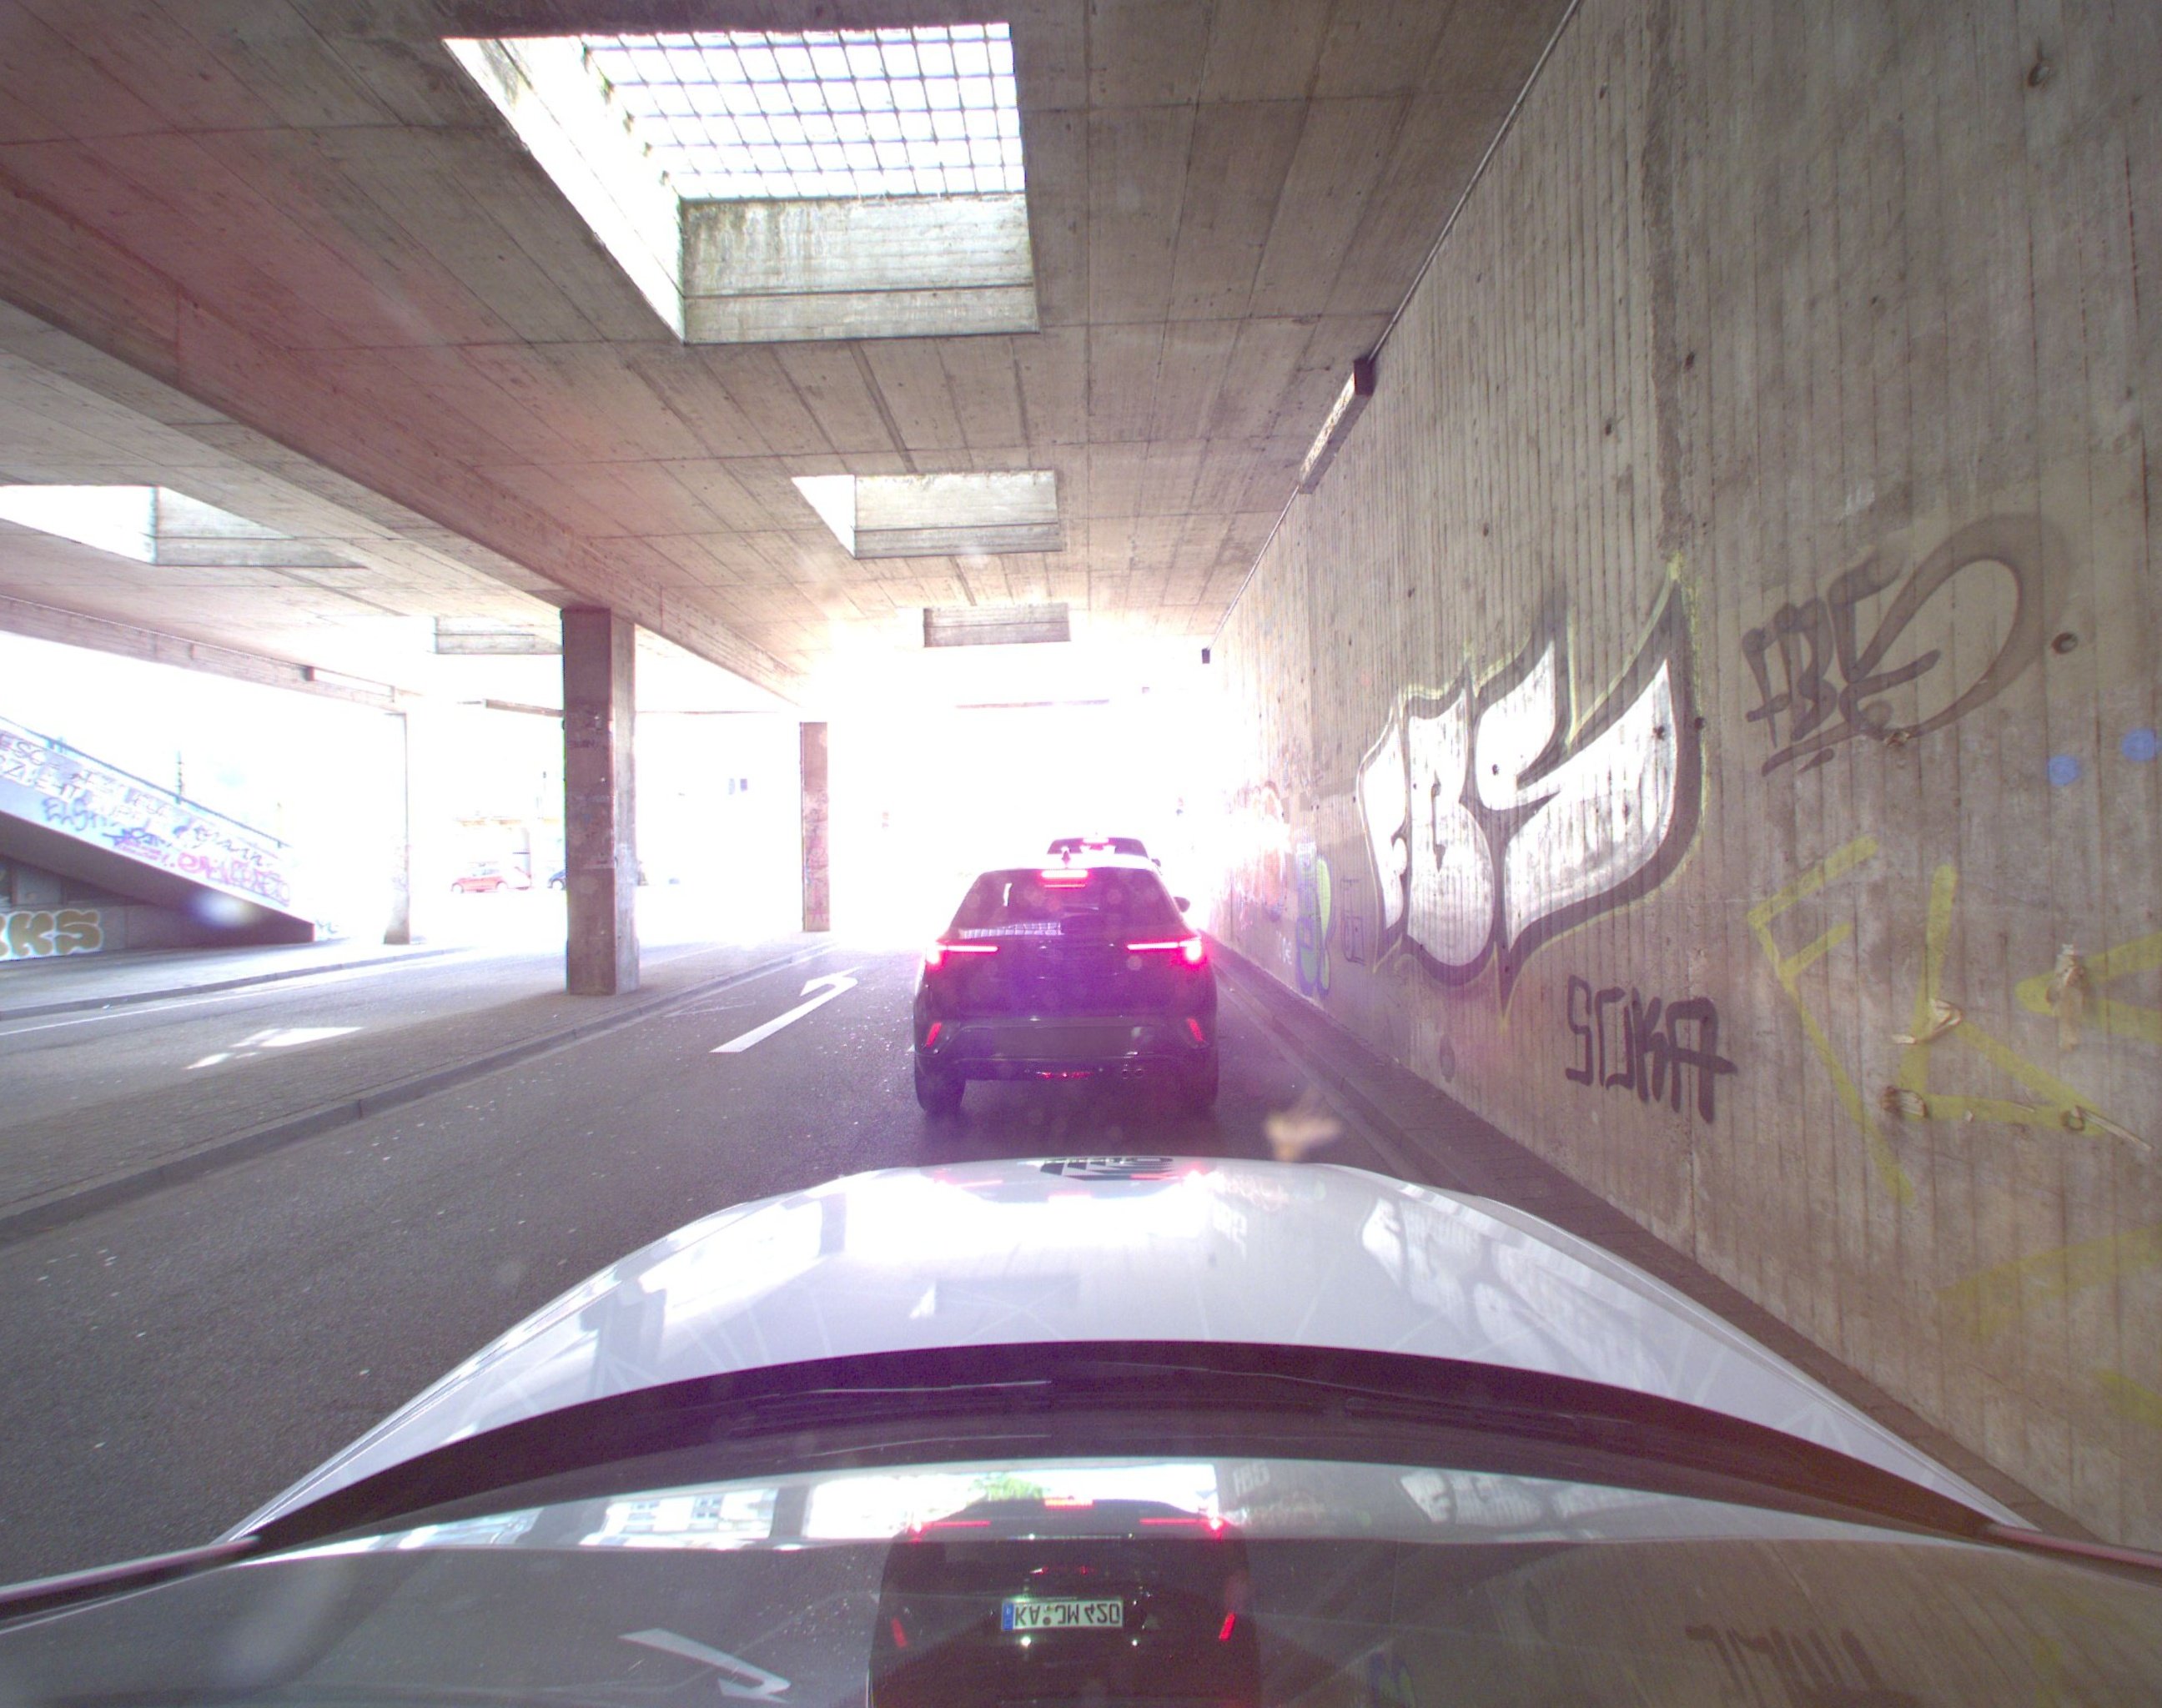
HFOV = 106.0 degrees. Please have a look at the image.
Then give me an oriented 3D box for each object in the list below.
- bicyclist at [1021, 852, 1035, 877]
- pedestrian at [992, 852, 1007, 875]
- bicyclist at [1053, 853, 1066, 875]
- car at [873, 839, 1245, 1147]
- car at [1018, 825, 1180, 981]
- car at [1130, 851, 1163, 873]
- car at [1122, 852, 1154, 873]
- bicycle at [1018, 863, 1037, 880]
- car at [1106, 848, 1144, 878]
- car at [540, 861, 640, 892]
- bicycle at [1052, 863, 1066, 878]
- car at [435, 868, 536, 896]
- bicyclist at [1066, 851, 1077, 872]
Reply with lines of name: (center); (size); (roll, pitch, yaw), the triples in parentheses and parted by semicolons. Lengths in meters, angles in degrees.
bicyclist: (-3.377, 0.667, 51.774); (0.724, 1.581, 0.817); (-1, -1, 11)
pedestrian: (-7.271, 0.805, 72.727); (0.986, 2.013, 1.091); (-2, 0, 10)
bicyclist: (-1.561, 0.707, 58.492); (0.724, 1.581, 0.817); (-1, -1, 11)
car: (-0.054, 0.718, 6.183); (1.875, 1.538, 3.966); (-2, 0, 2)
car: (0.279, 0.601, 12.003); (1.938, 1.860, 3.966); (-2, 0, 2)
car: (5.593, 0.701, 69.031); (2.206, 1.719, 4.474); (-2, -2, 12)
car: (4.410, 0.656, 62.246); (1.955, 1.497, 3.908); (-2, -2, 11)
bicycle: (-3.386, 1.125, 51.740); (0.727, 1.067, 1.694); (-1, -1, 11)
car: (2.409, 0.514, 44.261); (1.959, 1.497, 3.900); (-2, -2, 4)
car: (-27.206, 1.227, 45.240); (4.114, 1.550, 2.268); (-2, 0, 1)
bicycle: (-1.577, 1.165, 58.500); (0.621, 1.067, 1.694); (-1, -1, 11)
car: (-33.010, 1.523, 45.240); (3.970, 1.374, 2.192); (-2, 0, 3)
bicyclist: (-0.754, 0.567, 63.241); (0.724, 1.581, 0.817); (-1, -1, 11)
